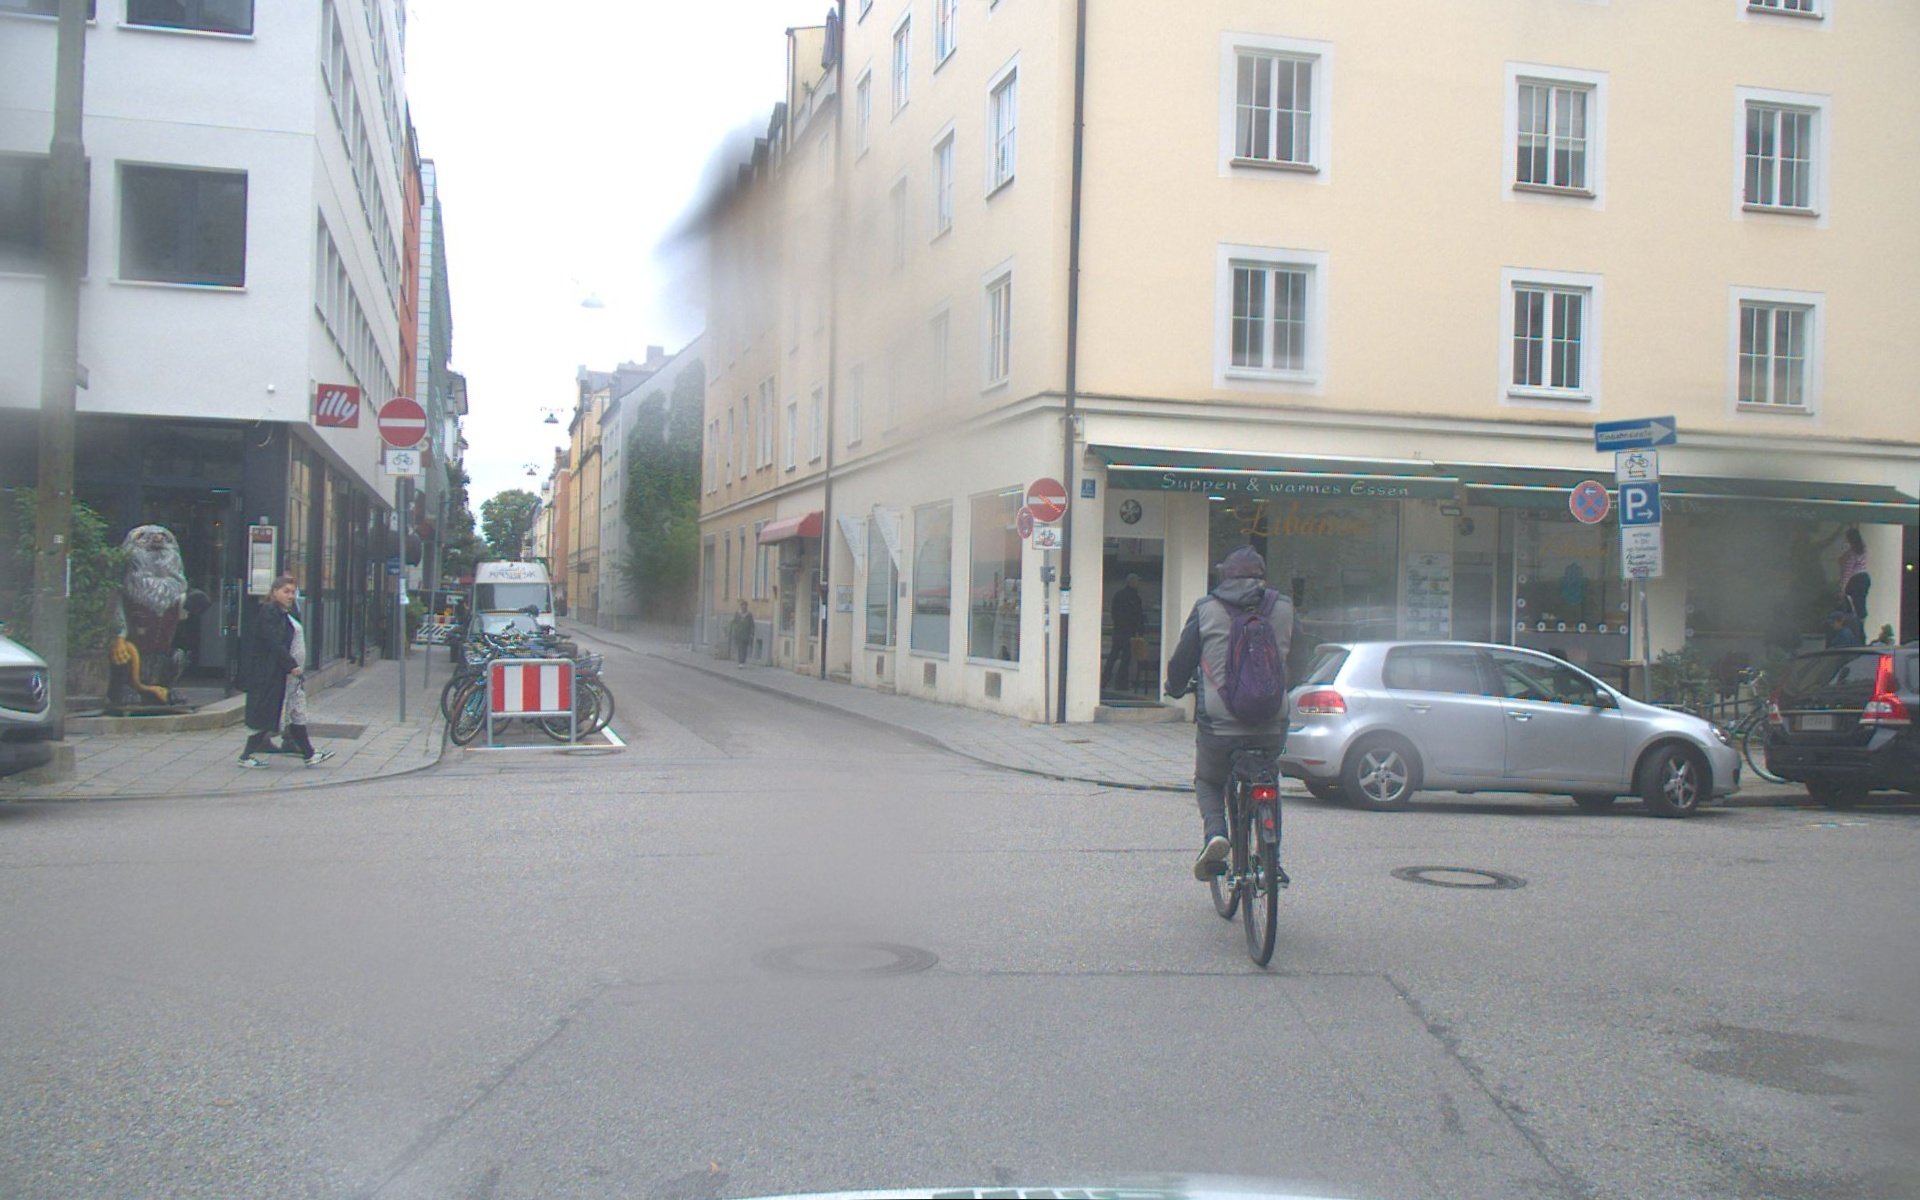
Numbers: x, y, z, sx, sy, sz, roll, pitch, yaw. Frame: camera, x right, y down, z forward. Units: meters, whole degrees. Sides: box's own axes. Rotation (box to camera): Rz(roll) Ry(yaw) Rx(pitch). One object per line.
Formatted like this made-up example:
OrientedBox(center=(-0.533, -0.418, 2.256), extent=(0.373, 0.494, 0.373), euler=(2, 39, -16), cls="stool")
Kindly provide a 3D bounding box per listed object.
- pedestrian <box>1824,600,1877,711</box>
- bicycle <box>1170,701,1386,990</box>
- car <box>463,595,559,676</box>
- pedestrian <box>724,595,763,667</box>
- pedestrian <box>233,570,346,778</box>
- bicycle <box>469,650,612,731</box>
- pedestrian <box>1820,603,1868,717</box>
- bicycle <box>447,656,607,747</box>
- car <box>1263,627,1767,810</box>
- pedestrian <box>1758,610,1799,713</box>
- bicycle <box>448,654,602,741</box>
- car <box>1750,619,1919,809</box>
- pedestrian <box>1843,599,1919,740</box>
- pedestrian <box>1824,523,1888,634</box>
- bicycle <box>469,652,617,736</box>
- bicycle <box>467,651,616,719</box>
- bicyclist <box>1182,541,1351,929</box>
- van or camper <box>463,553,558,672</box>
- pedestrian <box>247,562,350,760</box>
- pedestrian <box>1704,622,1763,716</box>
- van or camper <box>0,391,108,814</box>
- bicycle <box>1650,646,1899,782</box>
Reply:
OrientedBox(center=(12.830, 0.789, 23.837), extent=(0.429, 1.578, 0.529), euler=(1, -1, -31), cls="pedestrian")
OrientedBox(center=(1.345, 1.008, 7.260), extent=(0.626, 1.022, 1.574), euler=(2, 0, 0), cls="bicycle")
OrientedBox(center=(-9.324, 0.700, 34.444), extent=(1.802, 1.562, 3.984), euler=(1, 0, -15), cls="car")
OrientedBox(center=(-5.487, 0.786, 41.968), extent=(0.863, 1.809, 0.770), euler=(1, -1, -15), cls="pedestrian")
OrientedBox(center=(-6.027, 0.657, 14.854), extent=(0.781, 1.776, 0.765), euler=(3, 1, -28), cls="pedestrian")
OrientedBox(center=(-5.301, 1.138, 20.901), extent=(1.710, 0.985, 0.540), euler=(1, 0, -20), cls="bicycle")
OrientedBox(center=(12.461, 0.837, 23.304), extent=(0.545, 1.564, 0.434), euler=(2, 1, 29), cls="pedestrian")
OrientedBox(center=(-4.955, 1.153, 18.928), extent=(1.728, 0.985, 0.592), euler=(1, 0, -20), cls="bicycle")
OrientedBox(center=(4.856, 1.062, 14.860), extent=(3.907, 1.441, 1.819), euler=(2, -4, -2), cls="car")
OrientedBox(center=(11.926, 0.889, 24.096), extent=(0.502, 1.458, 0.582), euler=(1, -1, 28), cls="pedestrian")
OrientedBox(center=(-5.149, 1.147, 19.586), extent=(1.710, 0.985, 0.540), euler=(1, 0, -20), cls="bicycle")
OrientedBox(center=(9.845, 1.062, 15.496), extent=(4.262, 1.620, 1.814), euler=(2, -2, -14), cls="car")
OrientedBox(center=(11.620, 0.873, 20.863), extent=(0.591, 1.731, 0.542), euler=(1, 1, -12), cls="pedestrian")
OrientedBox(center=(13.266, -0.313, 24.504), extent=(0.542, 1.602, 0.576), euler=(3, -1, -13), cls="pedestrian")
OrientedBox(center=(-5.118, 1.147, 20.303), extent=(1.710, 0.985, 0.540), euler=(1, 0, -20), cls="bicycle")
OrientedBox(center=(-5.617, 1.133, 22.198), extent=(1.882, 0.878, 0.615), euler=(1, 0, -20), cls="bicycle")
OrientedBox(center=(1.349, 0.568, 7.382), extent=(0.593, 1.635, 0.757), euler=(1, 0, 0), cls="bicyclist")
OrientedBox(center=(-10.465, 0.278, 38.777), extent=(1.960, 2.584, 4.743), euler=(1, 0, -14), cls="van or camper")
OrientedBox(center=(-6.324, 0.579, 15.808), extent=(0.768, 1.814, 0.613), euler=(3, 1, -28), cls="pedestrian")
OrientedBox(center=(11.066, 0.983, 23.671), extent=(0.507, 1.319, 0.576), euler=(1, -1, -34), cls="pedestrian")
OrientedBox(center=(-9.135, -0.012, 10.975), extent=(5.800, 2.724, 1.867), euler=(1, -2, -12), cls="van or camper")
OrientedBox(center=(8.429, 1.170, 17.158), extent=(2.046, 1.275, 1.103), euler=(2, 0, -12), cls="bicycle")
